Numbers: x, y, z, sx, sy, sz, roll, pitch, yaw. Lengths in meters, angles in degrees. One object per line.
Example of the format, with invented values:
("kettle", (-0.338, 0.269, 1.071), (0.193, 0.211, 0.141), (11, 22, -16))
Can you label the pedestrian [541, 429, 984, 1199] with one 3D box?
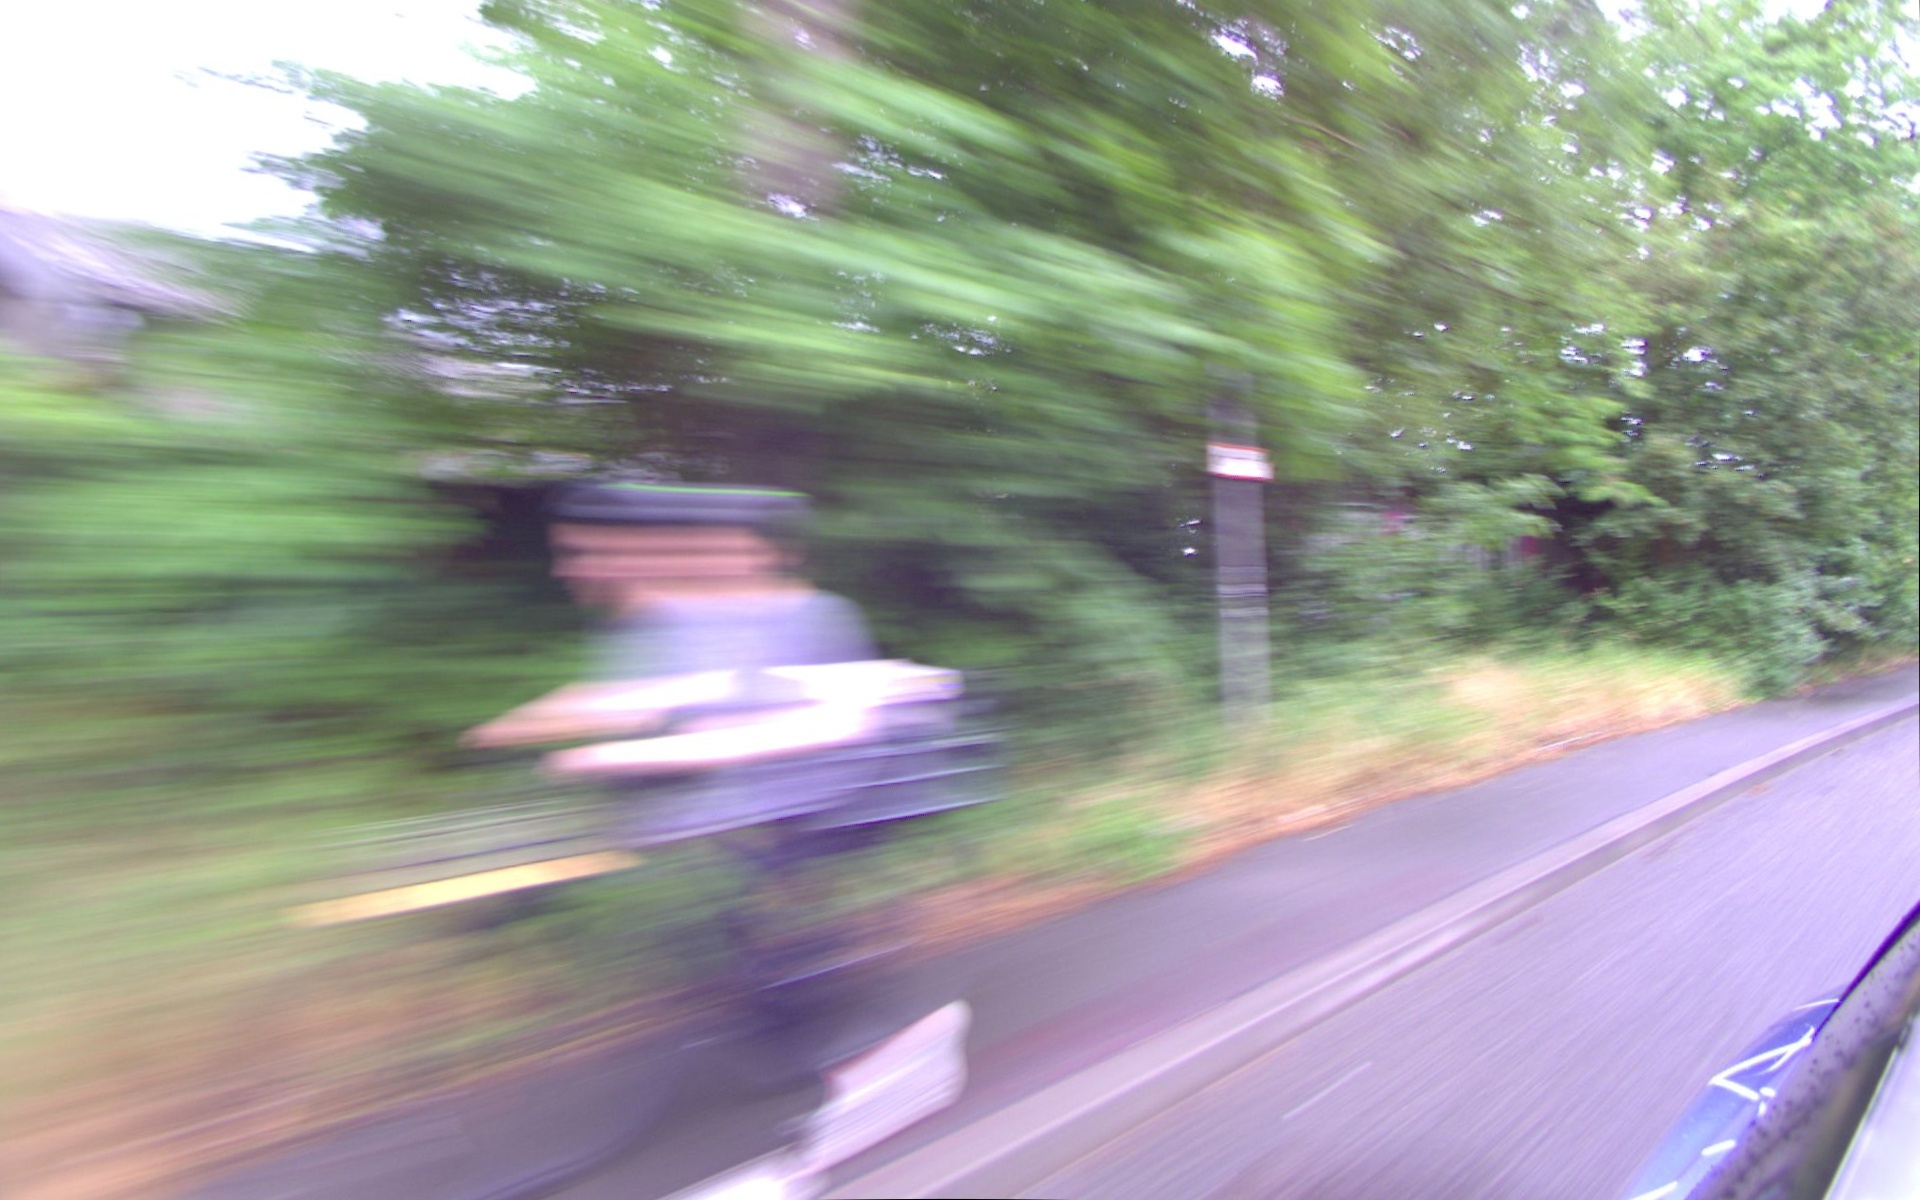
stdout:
("pedestrian", (-0.437, 0.465, 2.303), (0.756, 1.596, 0.565), (-4, 3, -40))

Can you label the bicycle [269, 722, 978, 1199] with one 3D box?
("bicycle", (-0.719, 0.838, 2.599), (1.712, 0.859, 0.356), (0, 2, -41))
